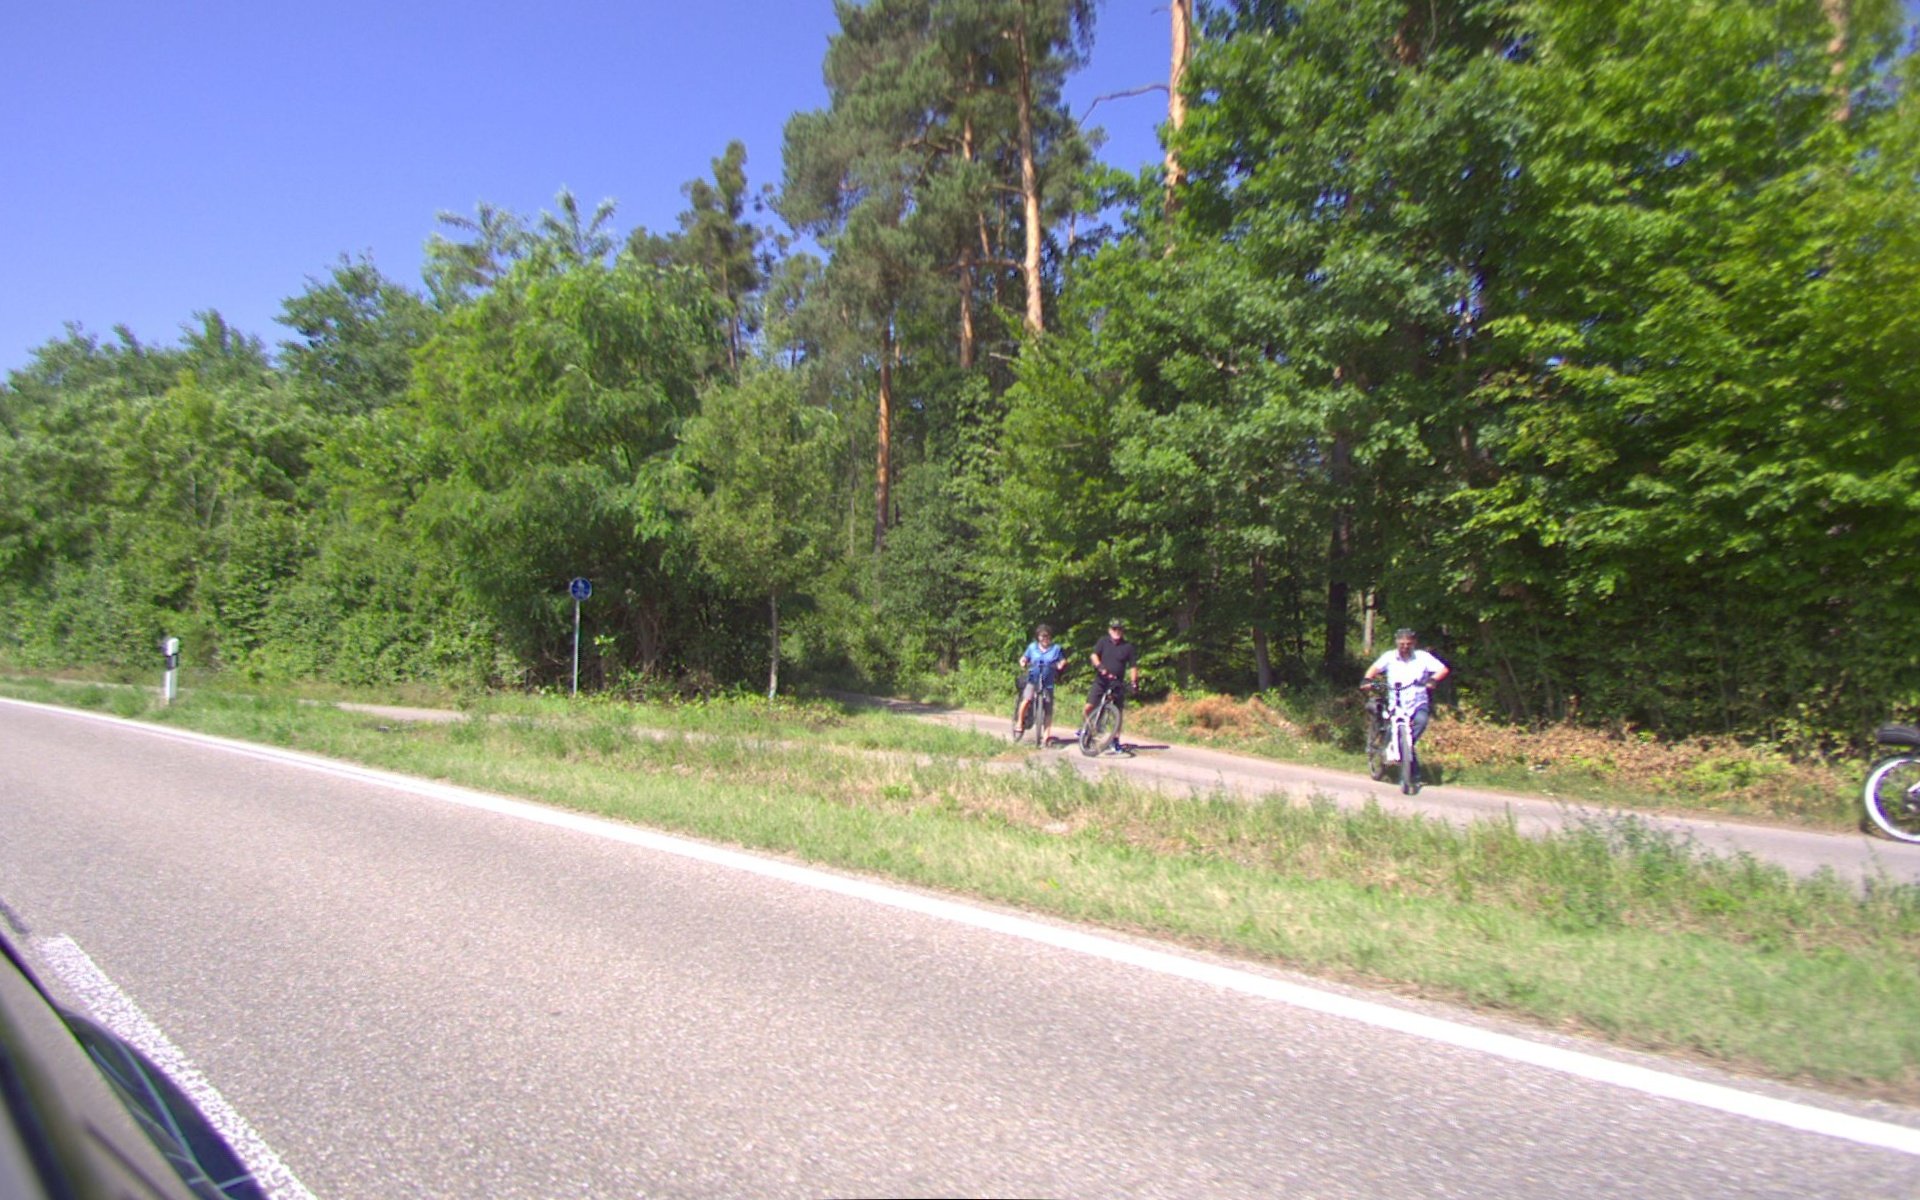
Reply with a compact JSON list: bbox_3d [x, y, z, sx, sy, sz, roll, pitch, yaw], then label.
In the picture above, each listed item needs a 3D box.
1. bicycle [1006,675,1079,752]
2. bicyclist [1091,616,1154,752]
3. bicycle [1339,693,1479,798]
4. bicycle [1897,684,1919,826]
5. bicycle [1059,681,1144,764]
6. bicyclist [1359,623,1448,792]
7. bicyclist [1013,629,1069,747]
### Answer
[{"bbox_3d":[1.113,1.540,14.044,0.596,0.836,1.988,0,0,-7],"label":"bicycle"},{"bbox_3d":[2.132,1.080,13.368,0.596,1.713,0.852,0,0,-7],"label":"bicyclist"},{"bbox_3d":[4.756,1.512,10.882,0.597,0.836,1.985,0,0,-1],"label":"bicycle"},{"bbox_3d":[8.064,1.205,7.529,0.572,1.094,1.452,-1,-2,-22],"label":"bicycle"},{"bbox_3d":[1.830,1.572,13.336,0.596,0.836,1.988,0,0,-7],"label":"bicycle"},{"bbox_3d":[4.763,1.126,10.907,0.597,1.732,0.789,0,0,0],"label":"bicyclist"},{"bbox_3d":[1.119,1.189,14.042,0.596,1.557,0.873,0,0,-7],"label":"bicyclist"}]
